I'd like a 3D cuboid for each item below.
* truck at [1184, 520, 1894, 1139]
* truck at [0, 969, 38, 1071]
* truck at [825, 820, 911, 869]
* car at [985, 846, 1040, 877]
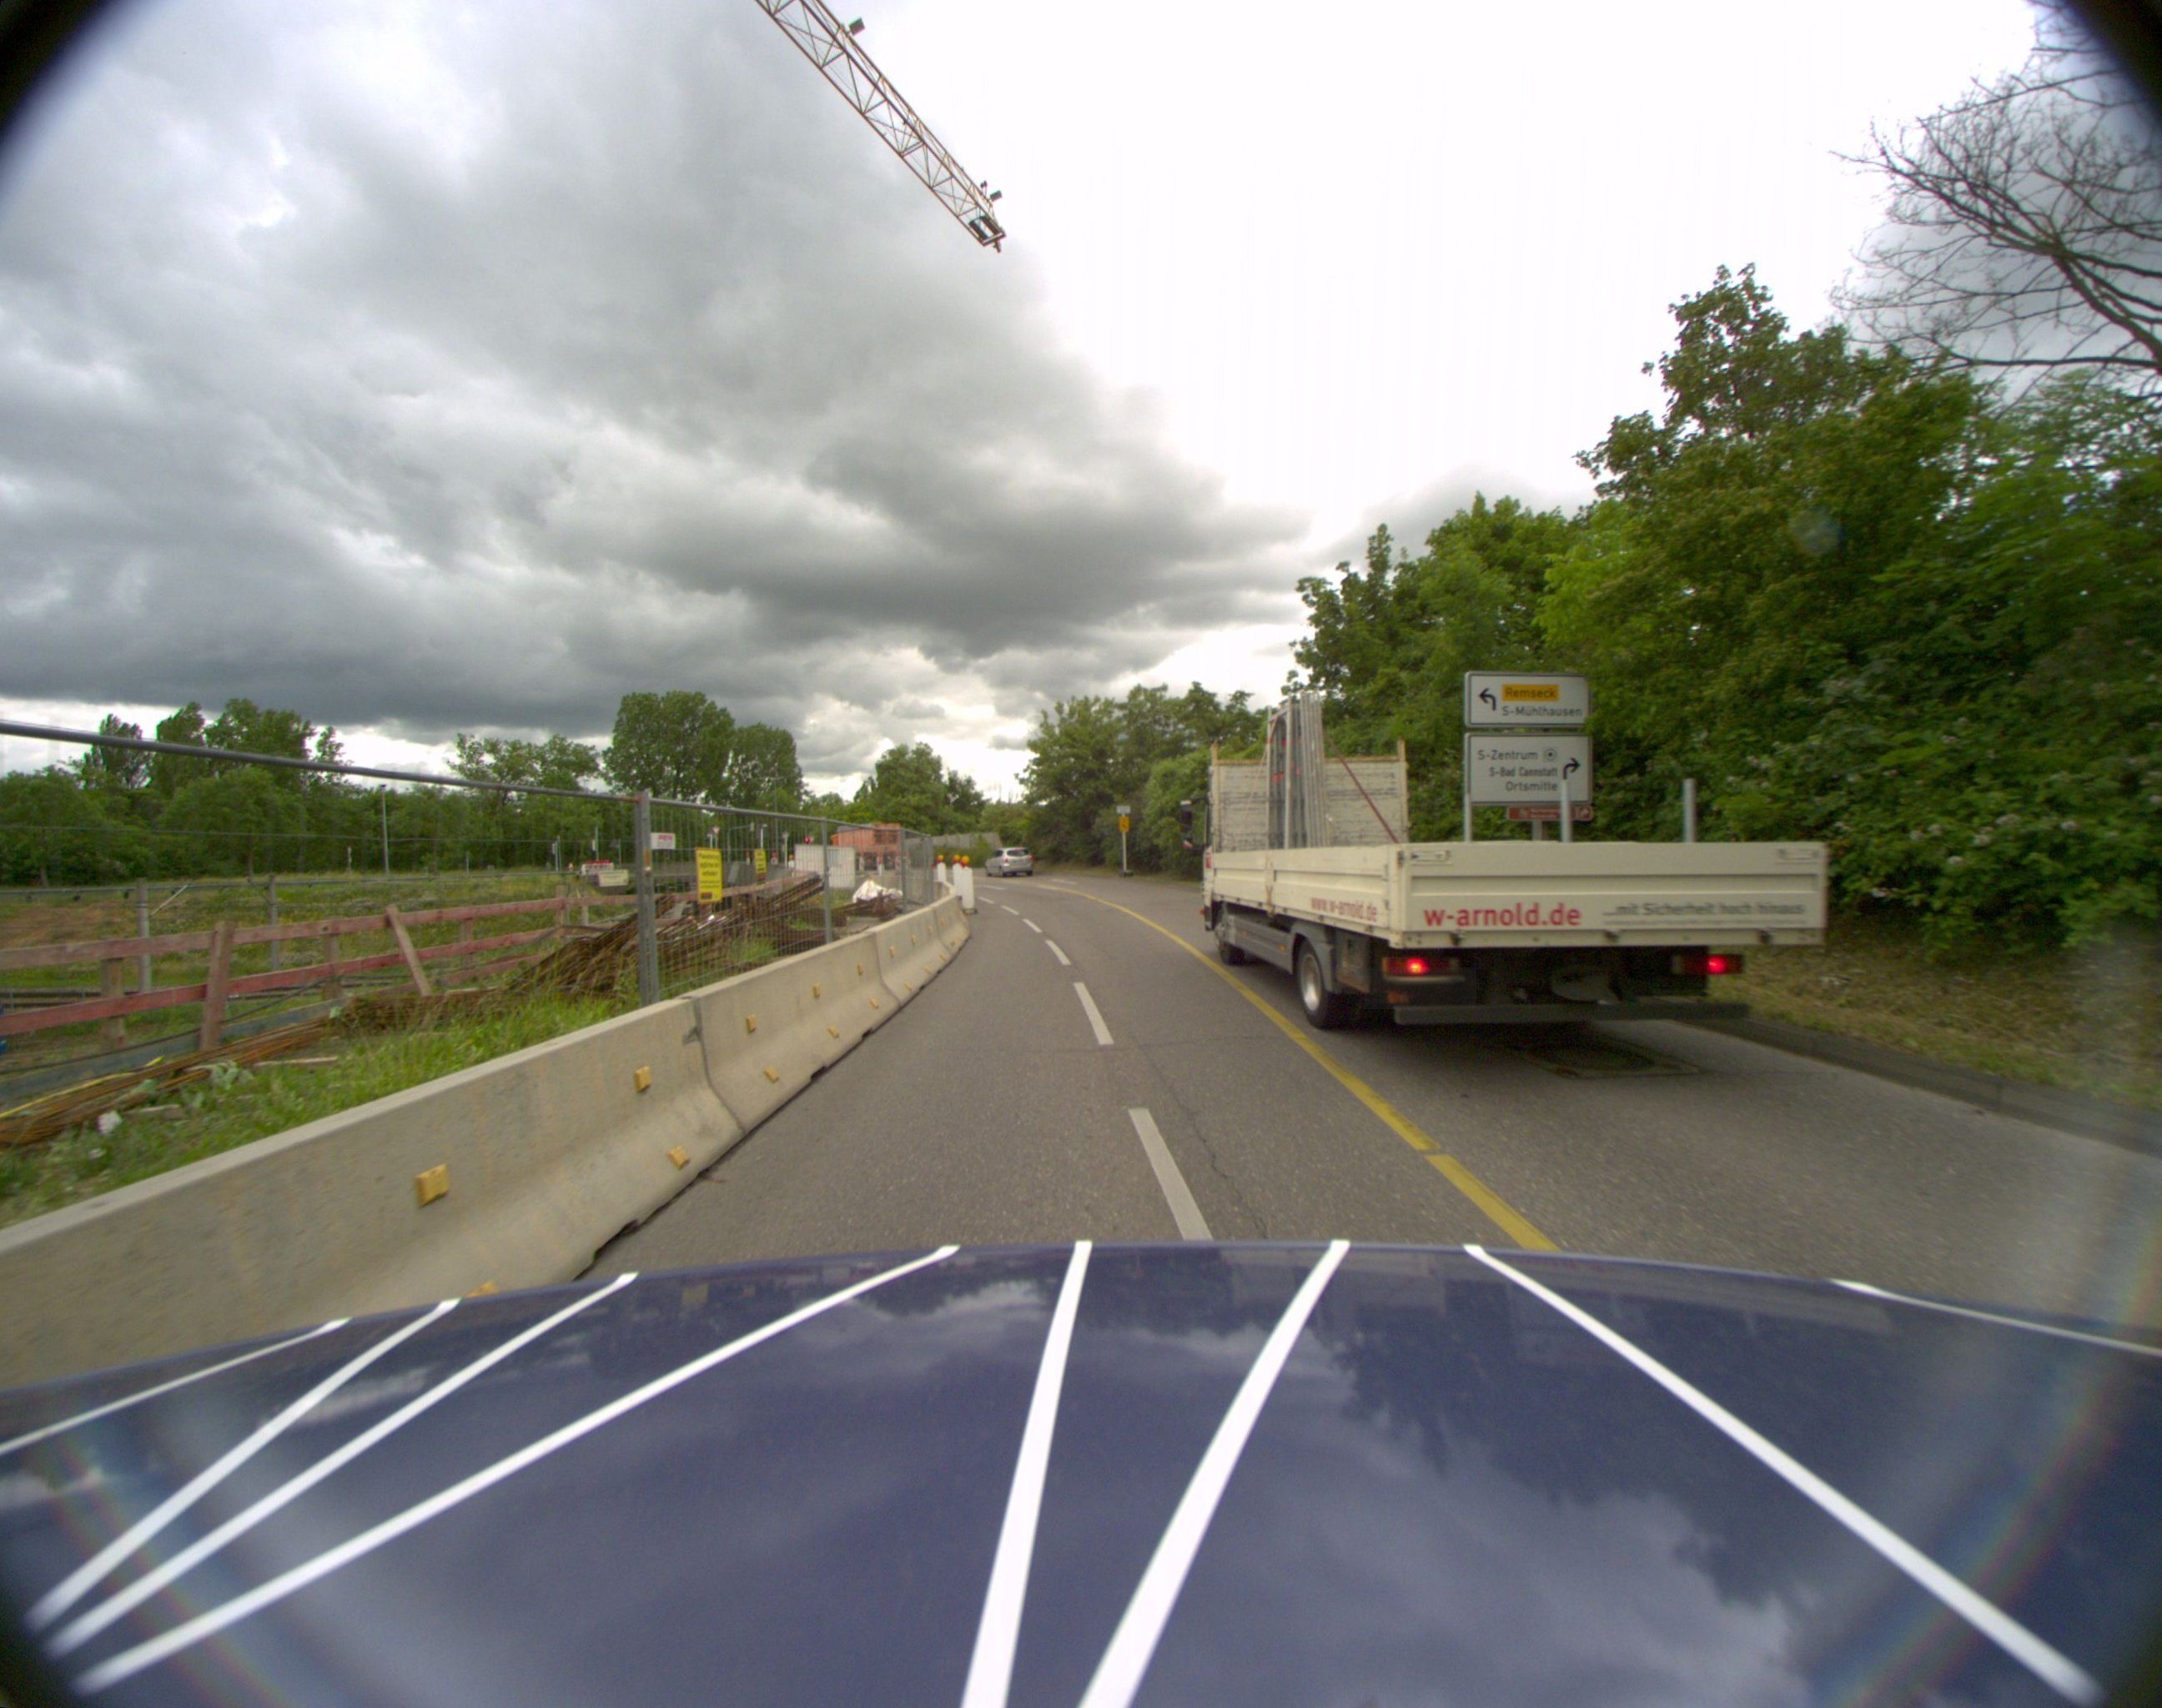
[{"bbox_3d":[3.016,-0.177,7.913,2.758,3.239,7.609,-2,1,0],"label":"truck"},{"bbox_3d":[-44.673,6.679,28.403,6.136,3.741,2.415,-4,2,-20],"label":"truck"},{"bbox_3d":[-18.525,-0.730,65.560,3.047,3.875,9.975,-3,2,-41],"label":"truck"},{"bbox_3d":[-3.865,0.374,42.179,1.896,1.554,4.093,-3,1,-21],"label":"car"}]
